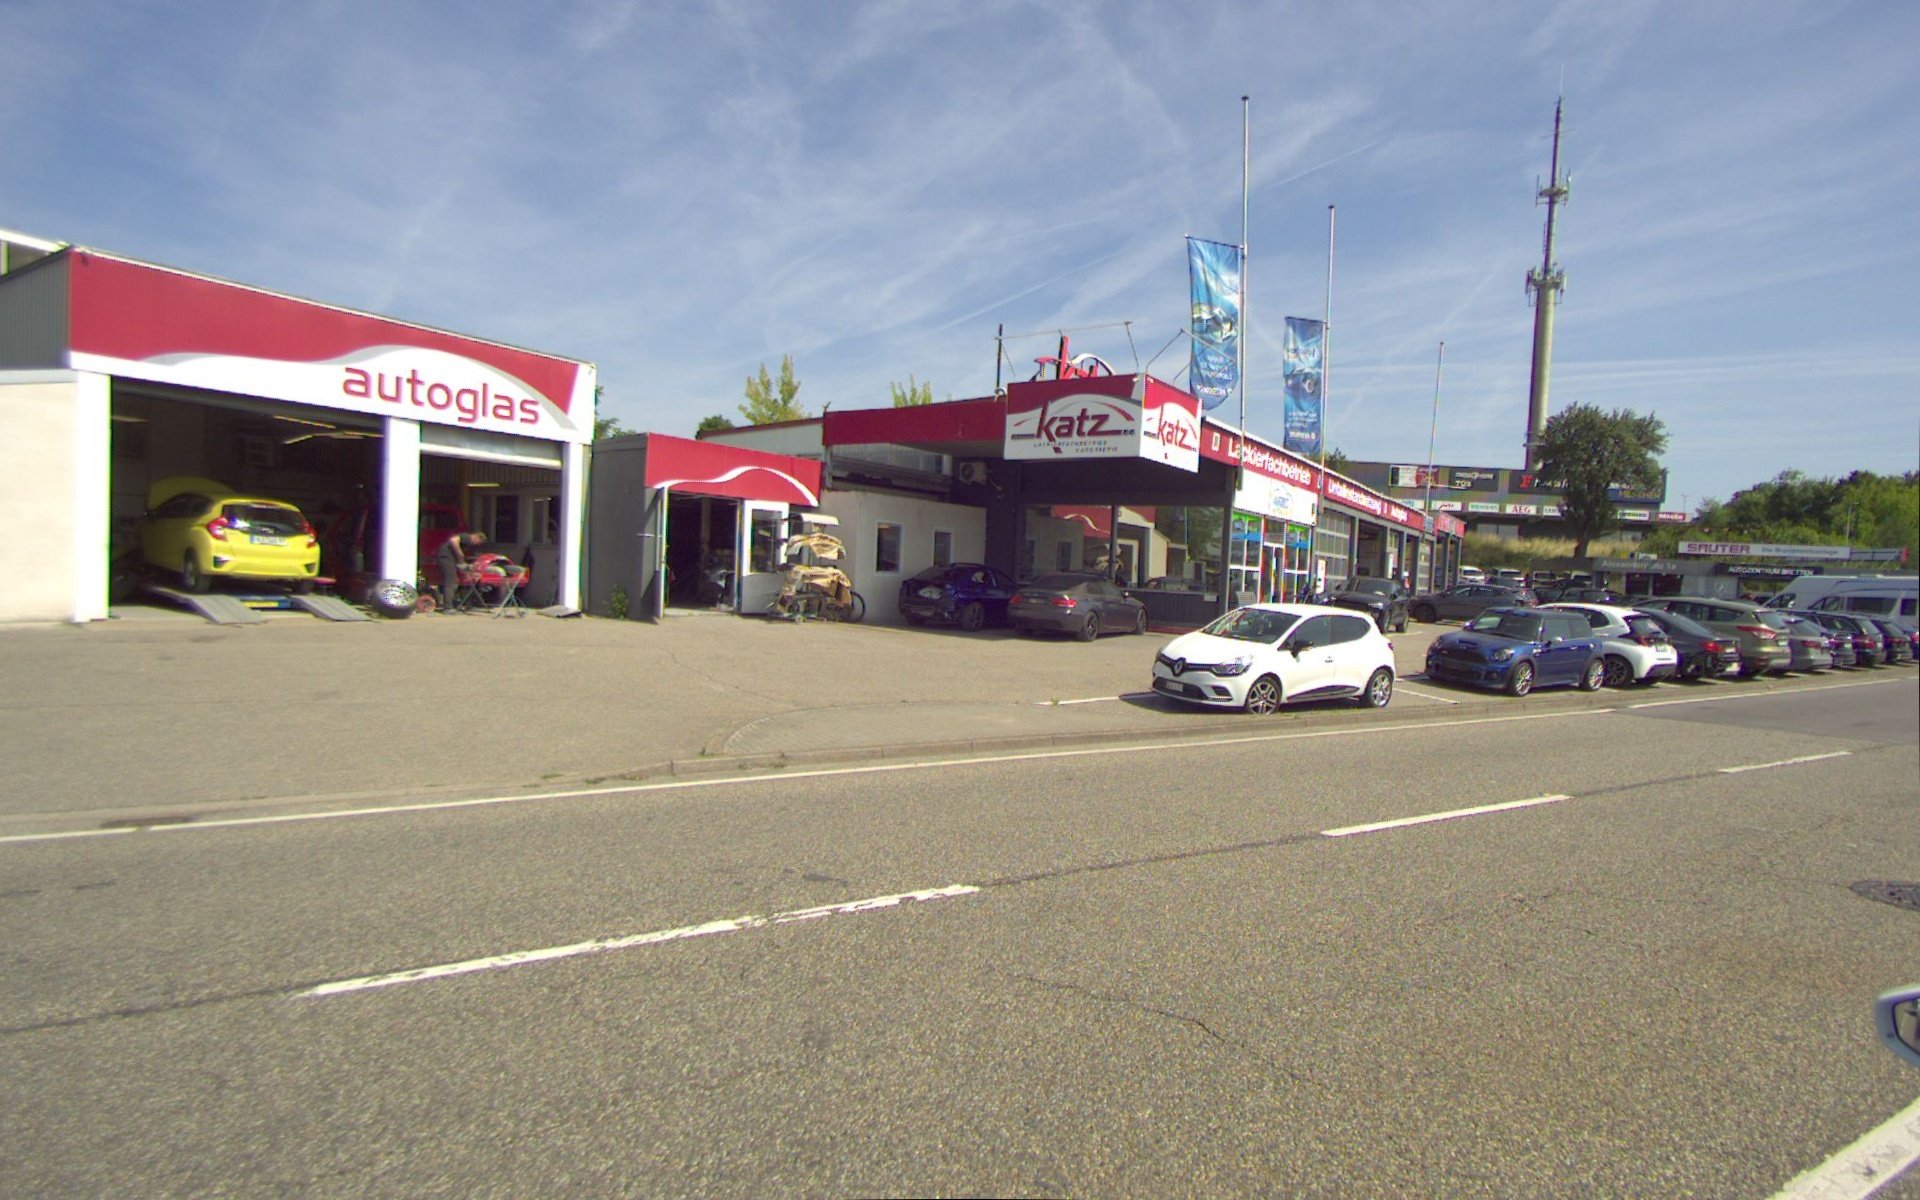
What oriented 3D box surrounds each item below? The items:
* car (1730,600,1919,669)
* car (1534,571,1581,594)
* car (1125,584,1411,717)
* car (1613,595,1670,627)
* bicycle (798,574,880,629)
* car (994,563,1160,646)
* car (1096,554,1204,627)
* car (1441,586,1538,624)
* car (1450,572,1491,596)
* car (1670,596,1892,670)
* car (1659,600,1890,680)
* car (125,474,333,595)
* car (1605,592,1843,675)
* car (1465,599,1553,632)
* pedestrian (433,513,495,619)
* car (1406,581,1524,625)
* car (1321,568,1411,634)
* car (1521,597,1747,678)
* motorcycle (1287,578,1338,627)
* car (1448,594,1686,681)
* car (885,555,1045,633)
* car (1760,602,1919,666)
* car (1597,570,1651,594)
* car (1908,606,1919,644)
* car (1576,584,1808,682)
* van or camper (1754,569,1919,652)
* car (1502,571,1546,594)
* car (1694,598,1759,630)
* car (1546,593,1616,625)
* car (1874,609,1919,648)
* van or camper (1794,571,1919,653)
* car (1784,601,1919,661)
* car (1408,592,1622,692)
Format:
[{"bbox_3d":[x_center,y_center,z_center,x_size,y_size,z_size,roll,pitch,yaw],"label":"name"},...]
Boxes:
[{"bbox_3d":[24.970,0.944,29.066,1.784,1.505,3.817,1,5,-35],"label":"car"},{"bbox_3d":[40.423,-1.168,68.033,1.701,1.470,3.750,3,1,15],"label":"car"},{"bbox_3d":[4.497,0.662,14.520,3.956,1.640,1.769,1,2,-33],"label":"car"},{"bbox_3d":[36.311,0.563,53.619,1.735,1.609,3.827,2,1,23],"label":"car"},{"bbox_3d":[-2.698,0.017,22.300,1.966,0.984,0.414,8,4,35],"label":"bicycle"},{"bbox_3d":[2.717,0.015,22.383,1.828,1.525,4.382,6,5,33],"label":"car"},{"bbox_3d":[5.389,-0.274,28.171,1.674,1.782,3.753,6,4,31],"label":"car"},{"bbox_3d":[24.470,0.214,46.452,3.764,1.609,1.764,2,1,33],"label":"car"},{"bbox_3d":[35.478,-1.115,69.829,1.701,1.558,3.750,3,1,15],"label":"car"},{"bbox_3d":[22.919,0.858,28.218,1.754,1.505,4.428,1,5,-35],"label":"car"},{"bbox_3d":[21.098,0.970,26.191,1.780,1.505,4.269,1,5,-35],"label":"car"},{"bbox_3d":[-12.348,-1.111,16.914,3.610,1.748,1.734,6,4,35],"label":"car"},{"bbox_3d":[18.748,0.748,24.854,1.818,1.505,4.247,1,5,-35],"label":"car"},{"bbox_3d":[29.212,0.792,53.559,1.746,1.609,3.803,1,1,-26],"label":"car"},{"bbox_3d":[-8.710,-0.591,17.632,0.884,1.786,0.719,2,2,-31],"label":"pedestrian"},{"bbox_3d":[19.554,0.082,38.925,3.883,1.553,1.764,2,1,33],"label":"car"},{"bbox_3d":[12.591,0.043,30.993,1.796,1.696,4.119,9,3,31],"label":"car"},{"bbox_3d":[14.514,0.747,21.788,1.774,1.546,3.682,1,1,-35],"label":"car"},{"bbox_3d":[9.735,0.066,27.717,0.759,1.278,2.048,2,1,35],"label":"motorcycle"},{"bbox_3d":[12.409,0.696,20.734,1.828,1.546,3.770,1,1,-35],"label":"car"},{"bbox_3d":[0.204,-0.230,23.557,1.828,1.525,3.989,7,6,32],"label":"car"},{"bbox_3d":[26.982,0.987,30.635,1.691,1.577,3.682,-1,4,-35],"label":"car"},{"bbox_3d":[43.131,-1.141,65.316,1.701,1.470,3.750,3,1,15],"label":"car"},{"bbox_3d":[41.581,1.107,41.073,1.824,1.560,3.791,1,1,-35],"label":"car"},{"bbox_3d":[16.806,0.682,23.227,1.789,1.740,3.859,1,5,-35],"label":"car"},{"bbox_3d":[34.338,0.343,38.349,2.265,2.912,5.855,0,2,-34],"label":"van or camper"},{"bbox_3d":[38.593,-1.183,68.794,1.701,1.470,3.750,3,1,15],"label":"car"},{"bbox_3d":[40.115,0.700,52.673,1.735,1.609,3.827,2,1,23],"label":"car"},{"bbox_3d":[33.997,0.464,55.103,1.733,1.609,3.831,2,1,6],"label":"car"},{"bbox_3d":[39.018,1.179,39.814,1.824,1.468,3.791,1,1,-35],"label":"car"},{"bbox_3d":[33.271,0.399,35.601,2.186,2.768,5.215,1,2,-32],"label":"van or camper"},{"bbox_3d":[29.013,0.964,32.154,1.691,1.505,3.682,1,5,-35],"label":"car"},{"bbox_3d":[10.209,0.733,18.443,3.740,1.514,1.769,1,5,-33],"label":"car"}]
